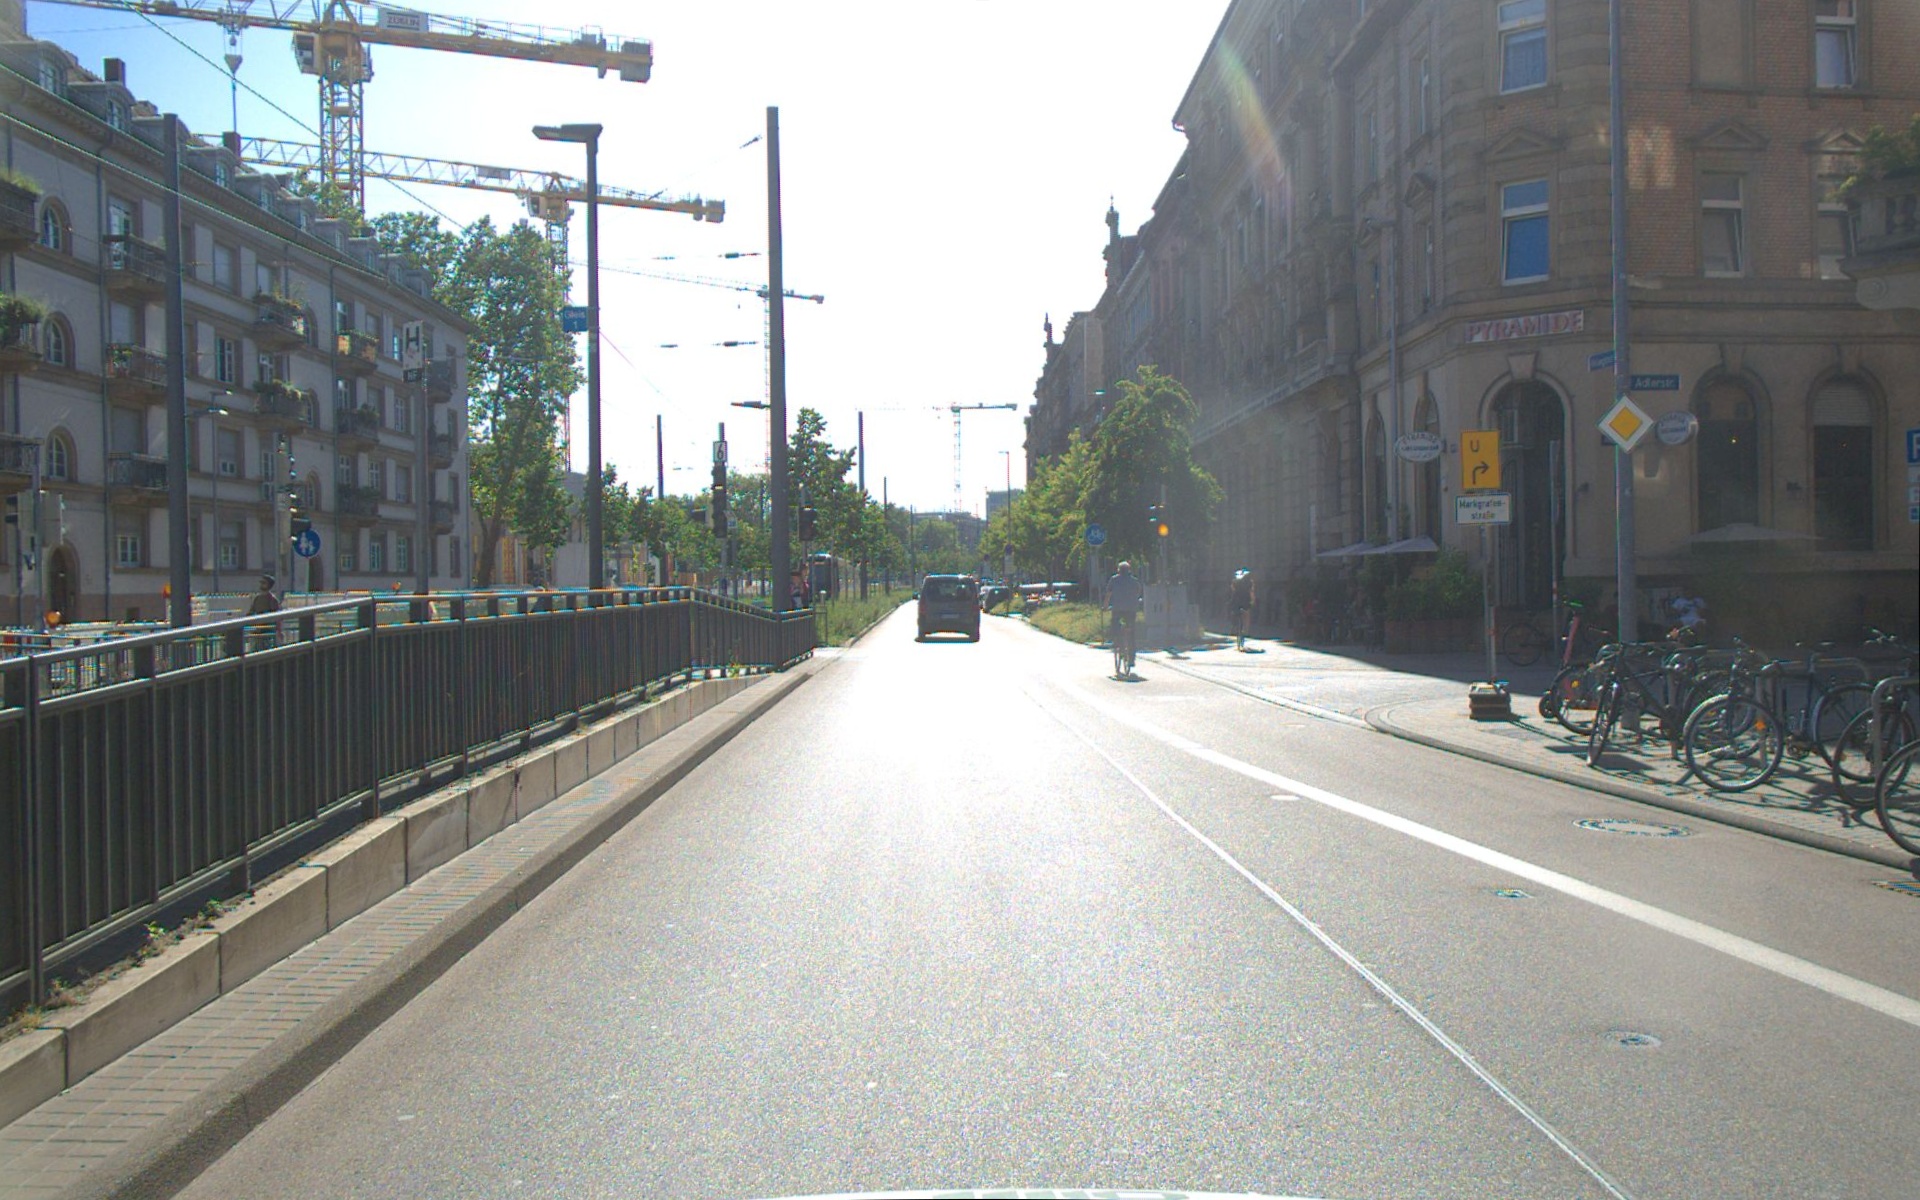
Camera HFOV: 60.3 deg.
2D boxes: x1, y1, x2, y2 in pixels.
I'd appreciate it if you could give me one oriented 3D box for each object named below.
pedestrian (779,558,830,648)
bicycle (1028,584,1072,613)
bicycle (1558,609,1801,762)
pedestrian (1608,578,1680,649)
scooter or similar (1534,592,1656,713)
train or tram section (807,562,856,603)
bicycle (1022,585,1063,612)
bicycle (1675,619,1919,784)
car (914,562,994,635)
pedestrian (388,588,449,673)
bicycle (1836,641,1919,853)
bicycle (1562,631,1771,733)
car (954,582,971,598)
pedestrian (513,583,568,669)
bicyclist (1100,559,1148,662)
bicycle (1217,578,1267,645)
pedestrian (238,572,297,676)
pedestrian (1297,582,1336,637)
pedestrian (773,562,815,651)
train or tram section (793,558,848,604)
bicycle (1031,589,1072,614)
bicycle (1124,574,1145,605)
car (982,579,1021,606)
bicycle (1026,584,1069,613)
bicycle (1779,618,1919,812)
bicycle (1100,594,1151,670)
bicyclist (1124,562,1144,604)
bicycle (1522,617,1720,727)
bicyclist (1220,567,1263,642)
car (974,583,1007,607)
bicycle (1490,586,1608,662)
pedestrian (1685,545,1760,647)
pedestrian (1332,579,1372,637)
[{"bbox_3d":[-3.395,0.060,36.116,1.055,1.942,0.652,-1,0,-8],"label":"pedestrian"},{"bbox_3d":[3.800,-0.063,69.722,1.757,1.048,0.527,-5,1,-2],"label":"bicycle"},{"bbox_3d":[5.922,0.696,13.670,1.688,1.119,0.607,-4,1,2],"label":"bicycle"},{"bbox_3d":[12.079,0.232,29.229,0.833,1.235,0.932,0,0,-8],"label":"pedestrian"},{"bbox_3d":[6.609,0.544,17.243,1.087,1.210,0.419,-2,1,6],"label":"scooter or similar"},{"bbox_3d":[-8.941,-1.167,115.715,2.700,2.790,9.862,0,0,0],"label":"train or tram section"},{"bbox_3d":[3.701,-0.061,74.181,1.757,1.048,0.527,-5,1,-2],"label":"bicycle"},{"bbox_3d":[6.177,0.731,12.122,1.567,1.063,0.607,-4,1,2],"label":"bicycle"},{"bbox_3d":[-0.227,-0.072,47.945,2.156,1.960,4.652,-1,0,-2],"label":"car"},{"bbox_3d":[-10.046,0.553,30.712,0.847,1.563,0.909,0,0,-1],"label":"pedestrian"},{"bbox_3d":[6.183,0.770,9.438,1.960,1.111,0.845,-4,1,-11],"label":"bicycle"},{"bbox_3d":[6.454,0.748,15.164,1.635,0.835,0.607,-2,1,5],"label":"bicycle"},{"bbox_3d":[0.266,-1.225,196.847,1.953,1.870,3.999,0,0,-1],"label":"car"},{"bbox_3d":[-7.751,0.464,30.575,0.796,1.563,0.798,0,0,0],"label":"pedestrian"},{"bbox_3d":[2.744,0.169,27.745,0.670,1.702,0.922,1,0,-2],"label":"bicyclist"},{"bbox_3d":[6.118,0.234,36.004,0.603,1.353,1.899,-5,1,-2],"label":"bicycle"},{"bbox_3d":[-12.274,0.405,29.305,0.856,1.812,0.900,0,0,-30],"label":"pedestrian"},{"bbox_3d":[8.018,0.213,37.232,0.692,1.198,0.635,-3,0,-2],"label":"pedestrian"},{"bbox_3d":[-3.452,0.134,34.382,0.848,1.819,0.969,0,0,-8],"label":"pedestrian"},{"bbox_3d":[-8.857,-1.174,105.869,2.700,2.790,9.862,0,0,0],"label":"train or tram section"},{"bbox_3d":[4.012,0.068,72.844,1.756,1.048,0.527,-2,0,-2],"label":"bicycle"},{"bbox_3d":[7.017,-0.423,66.611,0.571,1.244,1.899,-1,1,-1],"label":"bicycle"},{"bbox_3d":[2.419,-0.441,97.607,1.987,1.525,4.653,-1,0,-2],"label":"car"},{"bbox_3d":[3.763,-0.062,71.095,1.757,1.048,0.527,-5,1,-2],"label":"bicycle"},{"bbox_3d":[6.537,0.700,10.820,1.954,1.147,0.710,-4,1,0],"label":"bicycle"},{"bbox_3d":[2.751,0.520,27.593,0.589,1.201,1.868,1,1,-2],"label":"bicycle"},{"bbox_3d":[6.991,-0.700,66.542,0.653,1.668,0.960,-1,1,-2],"label":"bicyclist"},{"bbox_3d":[6.302,0.679,15.825,1.635,0.960,0.607,-2,1,6],"label":"bicycle"},{"bbox_3d":[6.111,0.096,35.940,0.647,1.556,0.800,-5,1,-2],"label":"bicyclist"},{"bbox_3d":[1.985,-0.344,109.821,1.987,1.525,4.529,-1,0,-2],"label":"car"},{"bbox_3d":[10.019,0.407,28.151,1.779,1.191,0.654,-1,4,2],"label":"bicycle"},{"bbox_3d":[13.599,-0.082,29.510,0.889,1.791,0.866,0,0,-8],"label":"pedestrian"},{"bbox_3d":[8.834,0.184,37.262,0.692,1.258,0.635,-3,0,-2],"label":"pedestrian"}]
